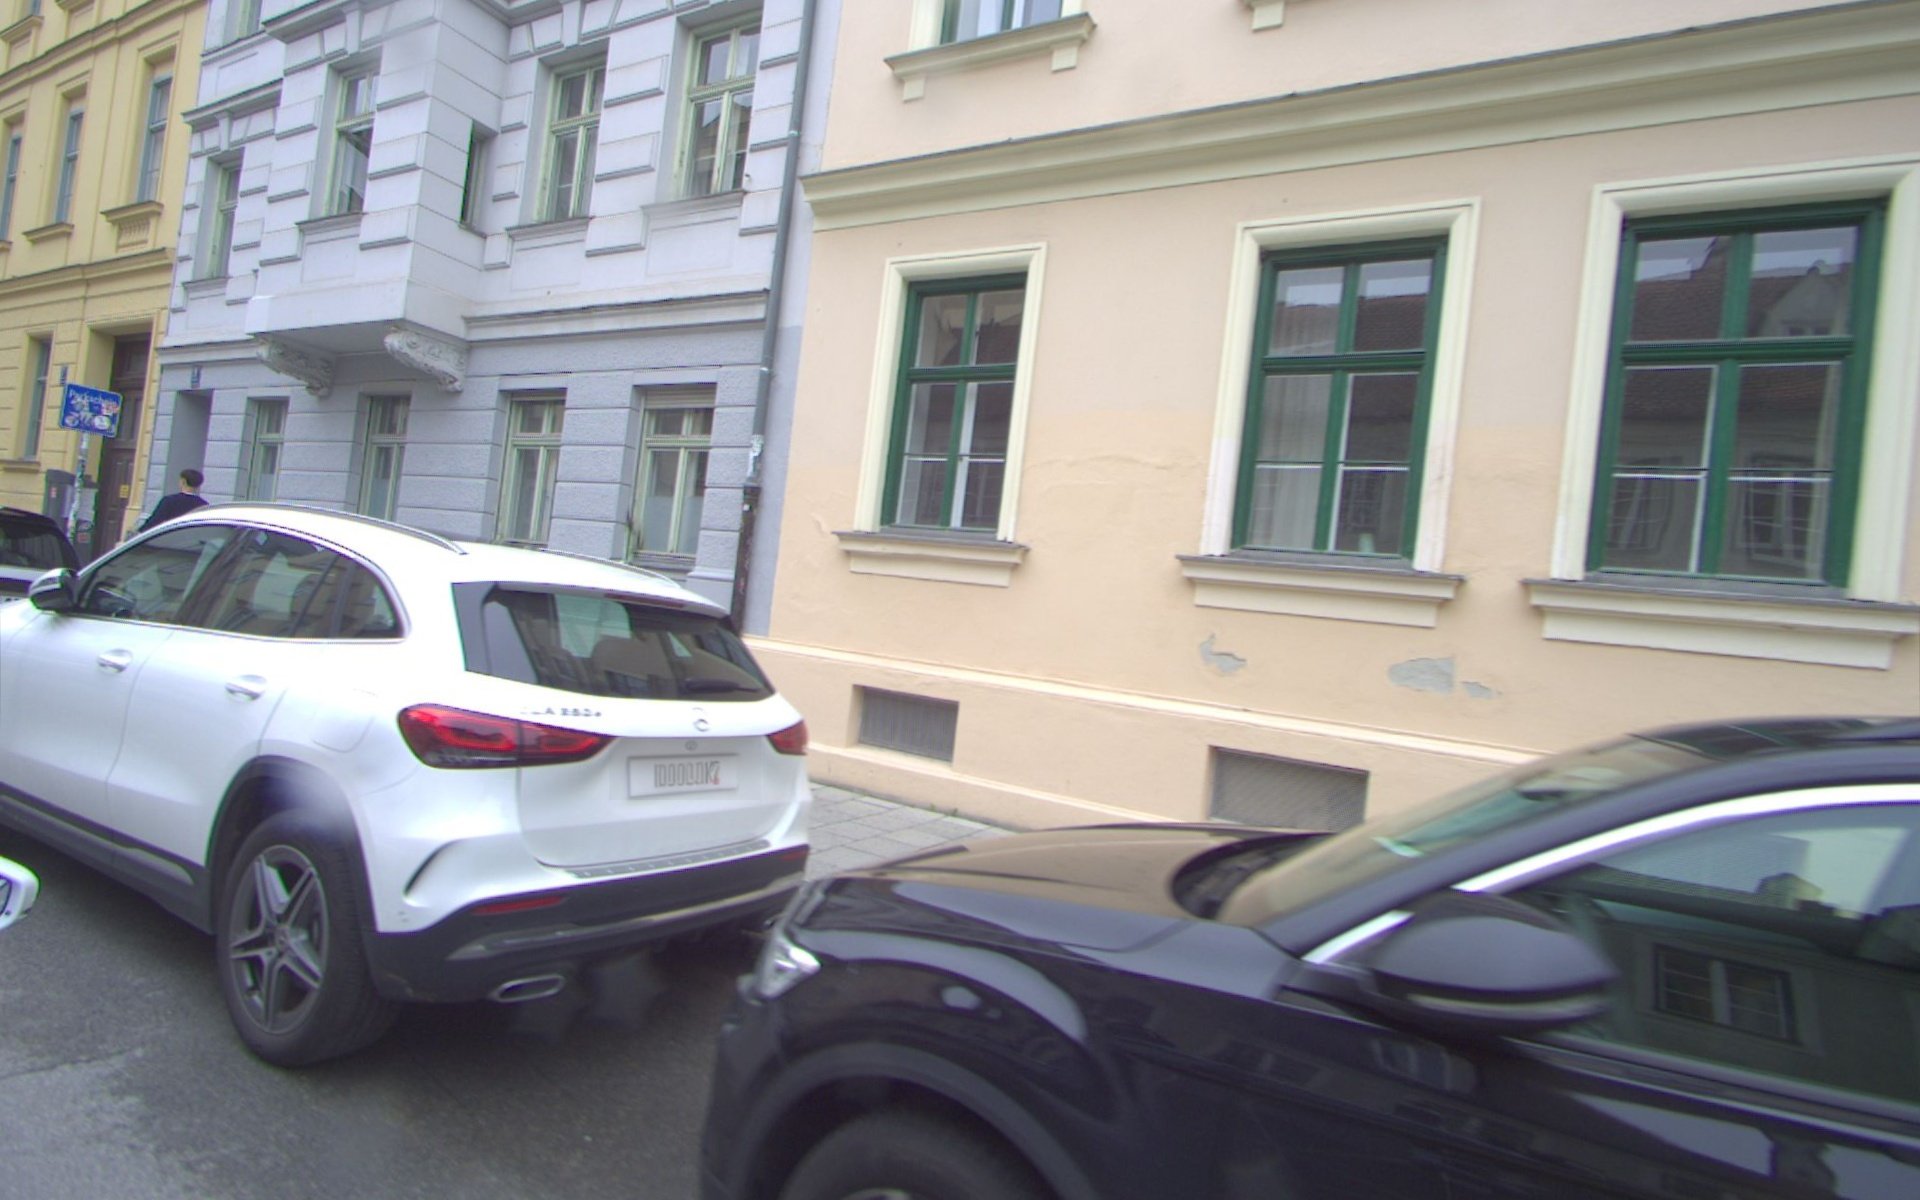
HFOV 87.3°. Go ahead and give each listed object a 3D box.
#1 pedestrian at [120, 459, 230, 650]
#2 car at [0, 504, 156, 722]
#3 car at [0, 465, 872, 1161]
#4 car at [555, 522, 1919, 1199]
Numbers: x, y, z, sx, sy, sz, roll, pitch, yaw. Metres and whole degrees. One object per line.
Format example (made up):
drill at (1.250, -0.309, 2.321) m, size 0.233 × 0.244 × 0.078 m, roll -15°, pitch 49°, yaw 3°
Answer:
pedestrian at (-8.597, -0.487, 11.016) m, size 0.697 × 2.006 × 0.669 m, roll 5°, pitch 2°, yaw 31°
car at (-8.083, -0.121, 7.479) m, size 4.135 × 1.421 × 1.713 m, roll 6°, pitch -2°, yaw 29°
car at (-2.745, 0.425, 4.301) m, size 4.392 × 1.602 × 1.747 m, roll 6°, pitch -2°, yaw 31°
car at (1.503, 0.895, 1.643) m, size 4.203 × 1.538 × 1.758 m, roll 6°, pitch -2°, yaw 31°
